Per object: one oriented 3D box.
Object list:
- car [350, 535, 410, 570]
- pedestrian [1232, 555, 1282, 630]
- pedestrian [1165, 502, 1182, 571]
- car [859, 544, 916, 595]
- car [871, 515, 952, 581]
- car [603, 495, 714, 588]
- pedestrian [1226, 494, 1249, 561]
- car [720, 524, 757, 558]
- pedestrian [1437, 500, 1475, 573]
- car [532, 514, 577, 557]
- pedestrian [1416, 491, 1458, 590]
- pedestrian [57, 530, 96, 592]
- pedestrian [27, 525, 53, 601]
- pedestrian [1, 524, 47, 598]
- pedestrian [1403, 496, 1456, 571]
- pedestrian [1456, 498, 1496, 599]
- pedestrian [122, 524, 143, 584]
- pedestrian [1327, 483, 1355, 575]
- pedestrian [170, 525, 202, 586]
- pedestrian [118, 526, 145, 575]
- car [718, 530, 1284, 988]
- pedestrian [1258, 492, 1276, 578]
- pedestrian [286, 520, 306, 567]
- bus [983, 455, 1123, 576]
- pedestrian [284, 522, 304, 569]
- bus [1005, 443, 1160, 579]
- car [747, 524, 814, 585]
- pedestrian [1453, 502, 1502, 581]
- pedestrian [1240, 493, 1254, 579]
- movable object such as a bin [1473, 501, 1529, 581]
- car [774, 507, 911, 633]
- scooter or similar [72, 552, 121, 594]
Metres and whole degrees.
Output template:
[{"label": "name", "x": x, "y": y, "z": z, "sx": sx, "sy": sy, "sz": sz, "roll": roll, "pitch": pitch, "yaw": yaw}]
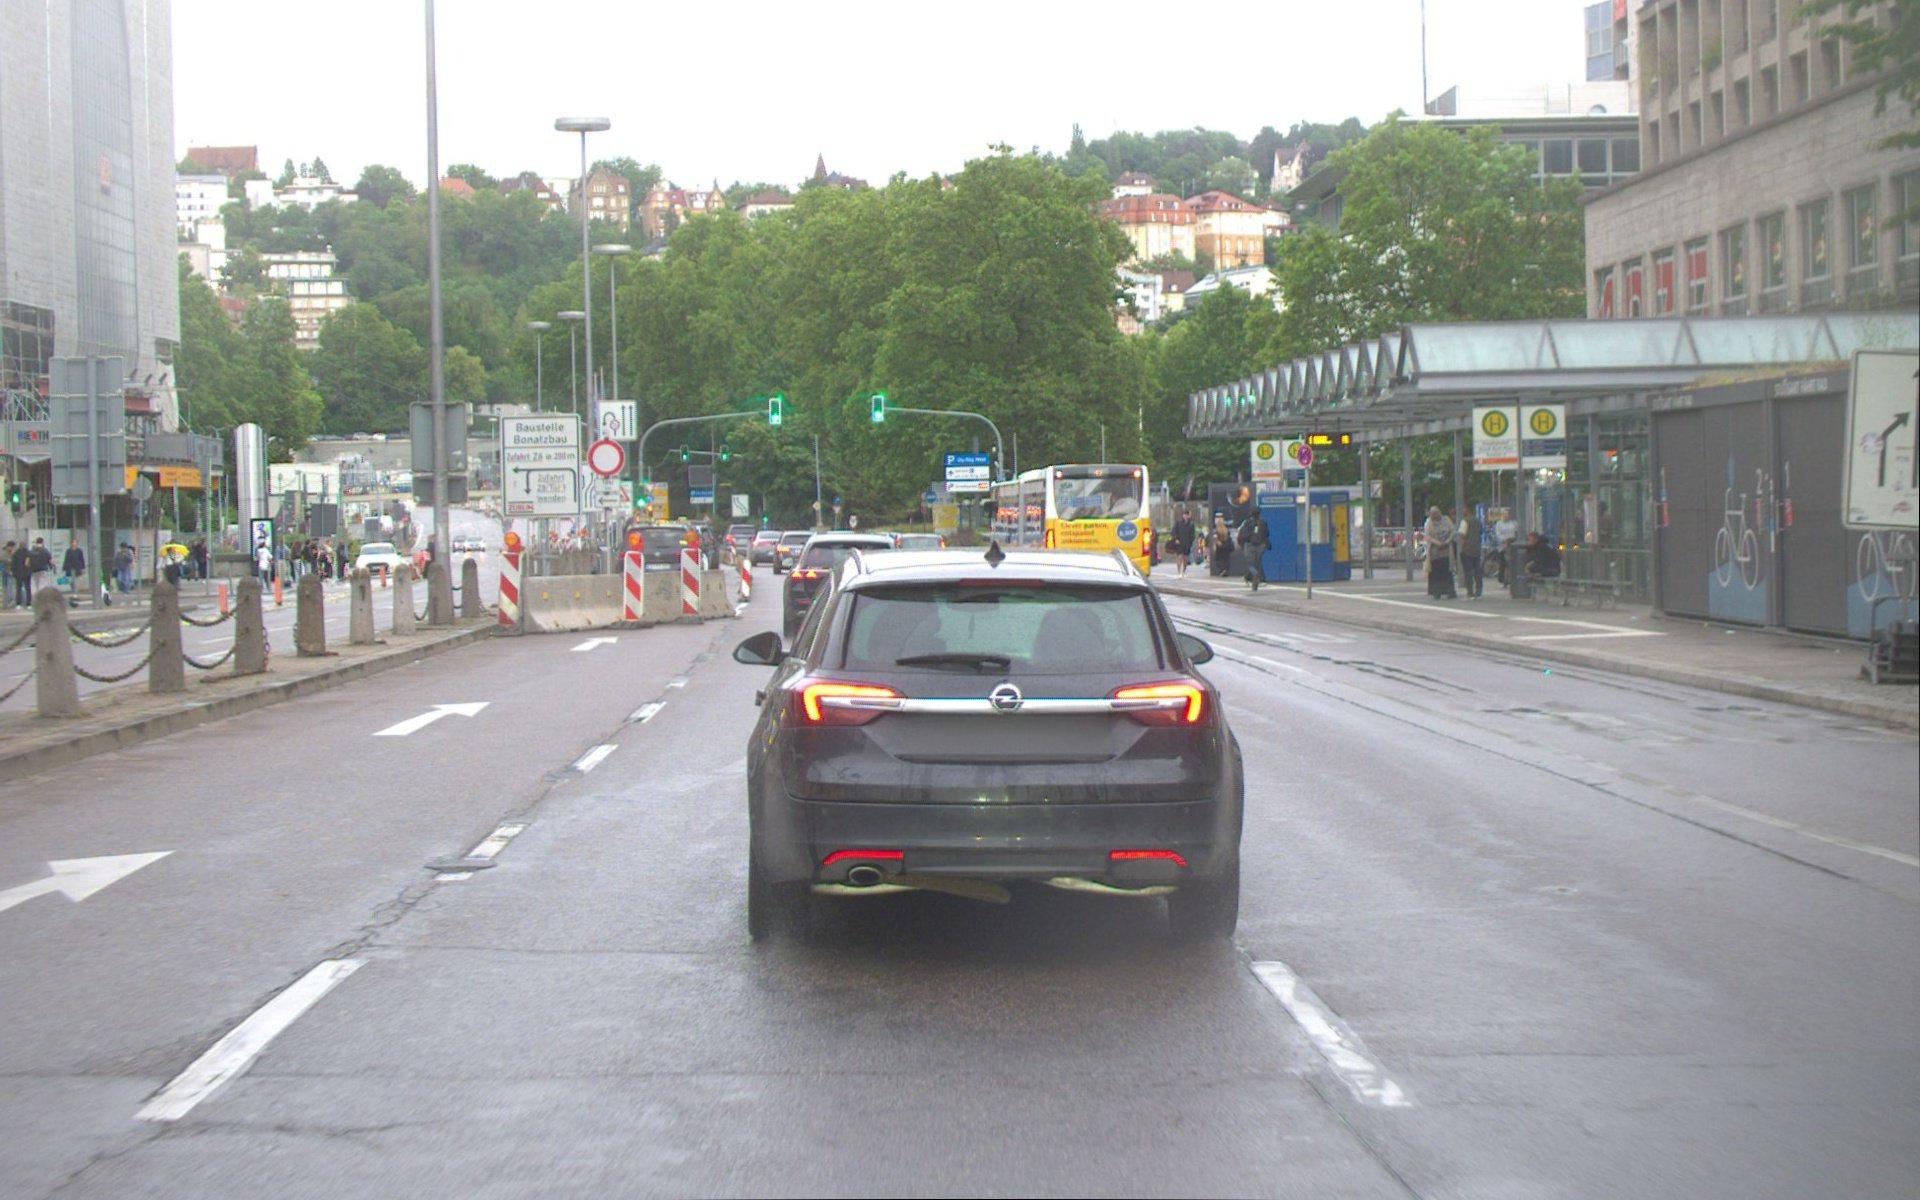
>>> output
[{"label": "car", "x": -24.331, "y": -1.989, "z": 144.345, "sx": 1.993, "sy": 1.463, "sz": 4.001, "roll": 0, "pitch": 1, "yaw": -3}, {"label": "pedestrian", "x": 6.813, "y": -0.174, "z": 78.902, "sx": 0.759, "sy": 1.684, "sz": 0.999, "roll": -1, "pitch": 1, "yaw": -23}, {"label": "pedestrian", "x": 5.747, "y": -1.711, "z": 92.668, "sx": 0.443, "sy": 1.830, "sz": 0.577, "roll": 0, "pitch": 1, "yaw": 2}, {"label": "car", "x": -2.316, "y": -0.983, "z": 109.763, "sx": 1.674, "sy": 1.576, "sz": 3.240, "roll": 0, "pitch": 1, "yaw": -4}, {"label": "car", "x": -1.310, "y": -1.397, "z": 91.777, "sx": 1.851, "sy": 1.711, "sz": 4.001, "roll": 0, "pitch": 1, "yaw": -5}, {"label": "car", "x": -6.358, "y": -1.255, "z": 72.948, "sx": 1.993, "sy": 1.856, "sz": 4.833, "roll": -1, "pitch": 1, "yaw": -1}, {"label": "pedestrian", "x": 7.601, "y": -1.991, "z": 94.232, "sx": 0.565, "sy": 1.830, "sz": 0.569, "roll": 0, "pitch": 1, "yaw": 1}, {"label": "car", "x": -11.118, "y": -2.957, "z": 172.593, "sx": 1.706, "sy": 1.660, "sz": 3.706, "roll": 0, "pitch": 1, "yaw": -2}, {"label": "pedestrian", "x": 11.576, "y": -1.485, "z": 80.241, "sx": 0.748, "sy": 1.689, "sz": 0.902, "roll": 0, "pitch": 1, "yaw": 1}, {"label": "car", "x": -19.469, "y": -3.093, "z": 164.969, "sx": 1.993, "sy": 2.007, "sz": 5.371, "roll": 0, "pitch": 1, "yaw": -8}, {"label": "pedestrian", "x": 8.850, "y": -1.102, "z": 63.808, "sx": 0.675, "sy": 1.830, "sz": 0.574, "roll": 0, "pitch": 1, "yaw": 0}, {"label": "pedestrian", "x": -26.229, "y": -1.165, "z": 102.073, "sx": 0.839, "sy": 1.834, "sz": 1.058, "roll": 0, "pitch": 1, "yaw": 1}, {"label": "pedestrian", "x": -22.619, "y": -0.913, "z": 84.550, "sx": 0.507, "sy": 1.834, "sz": 0.704, "roll": -1, "pitch": 1, "yaw": -8}, {"label": "pedestrian", "x": -23.689, "y": -0.990, "z": 87.005, "sx": 0.703, "sy": 1.834, "sz": 0.877, "roll": 0, "pitch": 1, "yaw": 26}, {"label": "pedestrian", "x": 11.416, "y": -1.605, "z": 83.583, "sx": 0.786, "sy": 1.798, "sz": 0.993, "roll": -2, "pitch": 1, "yaw": -31}, {"label": "pedestrian", "x": 9.397, "y": -0.943, "z": 62.648, "sx": 0.627, "sy": 1.830, "sz": 0.641, "roll": 0, "pitch": 1, "yaw": 0}, {"label": "pedestrian", "x": -25.358, "y": -1.422, "z": 105.296, "sx": 0.570, "sy": 1.834, "sz": 0.705, "roll": -1, "pitch": 1, "yaw": -16}, {"label": "pedestrian", "x": 9.161, "y": -1.709, "z": 82.606, "sx": 0.590, "sy": 2.207, "sz": 0.587, "roll": 0, "pitch": 1, "yaw": 0}, {"label": "pedestrian", "x": -23.534, "y": -1.352, "z": 104.510, "sx": 0.875, "sy": 1.834, "sz": 0.839, "roll": -1, "pitch": 1, "yaw": -16}, {"label": "pedestrian", "x": -27.591, "y": -1.641, "z": 114.459, "sx": 0.676, "sy": 1.608, "sz": 0.839, "roll": 0, "pitch": 1, "yaw": 0}, {"label": "car", "x": 0.087, "y": 0.481, "z": 13.899, "sx": 1.877, "sy": 1.503, "sz": 4.852, "roll": -1, "pitch": 1, "yaw": -1}, {"label": "pedestrian", "x": 6.566, "y": -1.386, "z": 73.498, "sx": 0.347, "sy": 1.830, "sz": 0.533, "roll": 0, "pitch": 1, "yaw": 1}, {"label": "pedestrian", "x": -26.329, "y": -2.247, "z": 136.365, "sx": 0.697, "sy": 1.835, "sz": 0.878, "roll": 0, "pitch": 1, "yaw": -5}, {"label": "bus", "x": 2.503, "y": -2.299, "z": 95.768, "sx": 3.113, "sy": 3.194, "sz": 9.243, "roll": 0, "pitch": 1, "yaw": -3}, {"label": "pedestrian", "x": -26.272, "y": -2.158, "z": 135.661, "sx": 0.697, "sy": 1.834, "sz": 0.528, "roll": -1, "pitch": 1, "yaw": -5}, {"label": "bus", "x": 2.986, "y": -2.183, "z": 86.611, "sx": 3.141, "sy": 3.236, "sz": 9.136, "roll": 0, "pitch": 1, "yaw": -3}, {"label": "car", "x": -6.092, "y": -1.543, "z": 116.286, "sx": 1.983, "sy": 2.007, "sz": 4.370, "roll": 0, "pitch": 1, "yaw": -6}, {"label": "pedestrian", "x": 10.800, "y": -1.224, "z": 71.712, "sx": 0.759, "sy": 1.649, "sz": 0.680, "roll": -1, "pitch": 1, "yaw": -26}, {"label": "pedestrian", "x": 6.136, "y": -1.380, "z": 73.511, "sx": 0.243, "sy": 1.830, "sz": 0.512, "roll": 0, "pitch": 1, "yaw": 1}, {"label": "movable object such as a bin", "x": 11.164, "y": -1.218, "z": 70.929, "sx": 0.662, "sy": 1.646, "sz": 1.049, "roll": -1, "pitch": 1, "yaw": -25}, {"label": "car", "x": -1.663, "y": -0.462, "z": 48.796, "sx": 1.830, "sy": 1.680, "sz": 4.134, "roll": -1, "pitch": 1, "yaw": -2}, {"label": "scooter or similar", "x": -22.319, "y": -0.702, "z": 88.849, "sx": 0.459, "sy": 1.062, "sz": 1.238, "roll": 0, "pitch": 2, "yaw": 32}]
